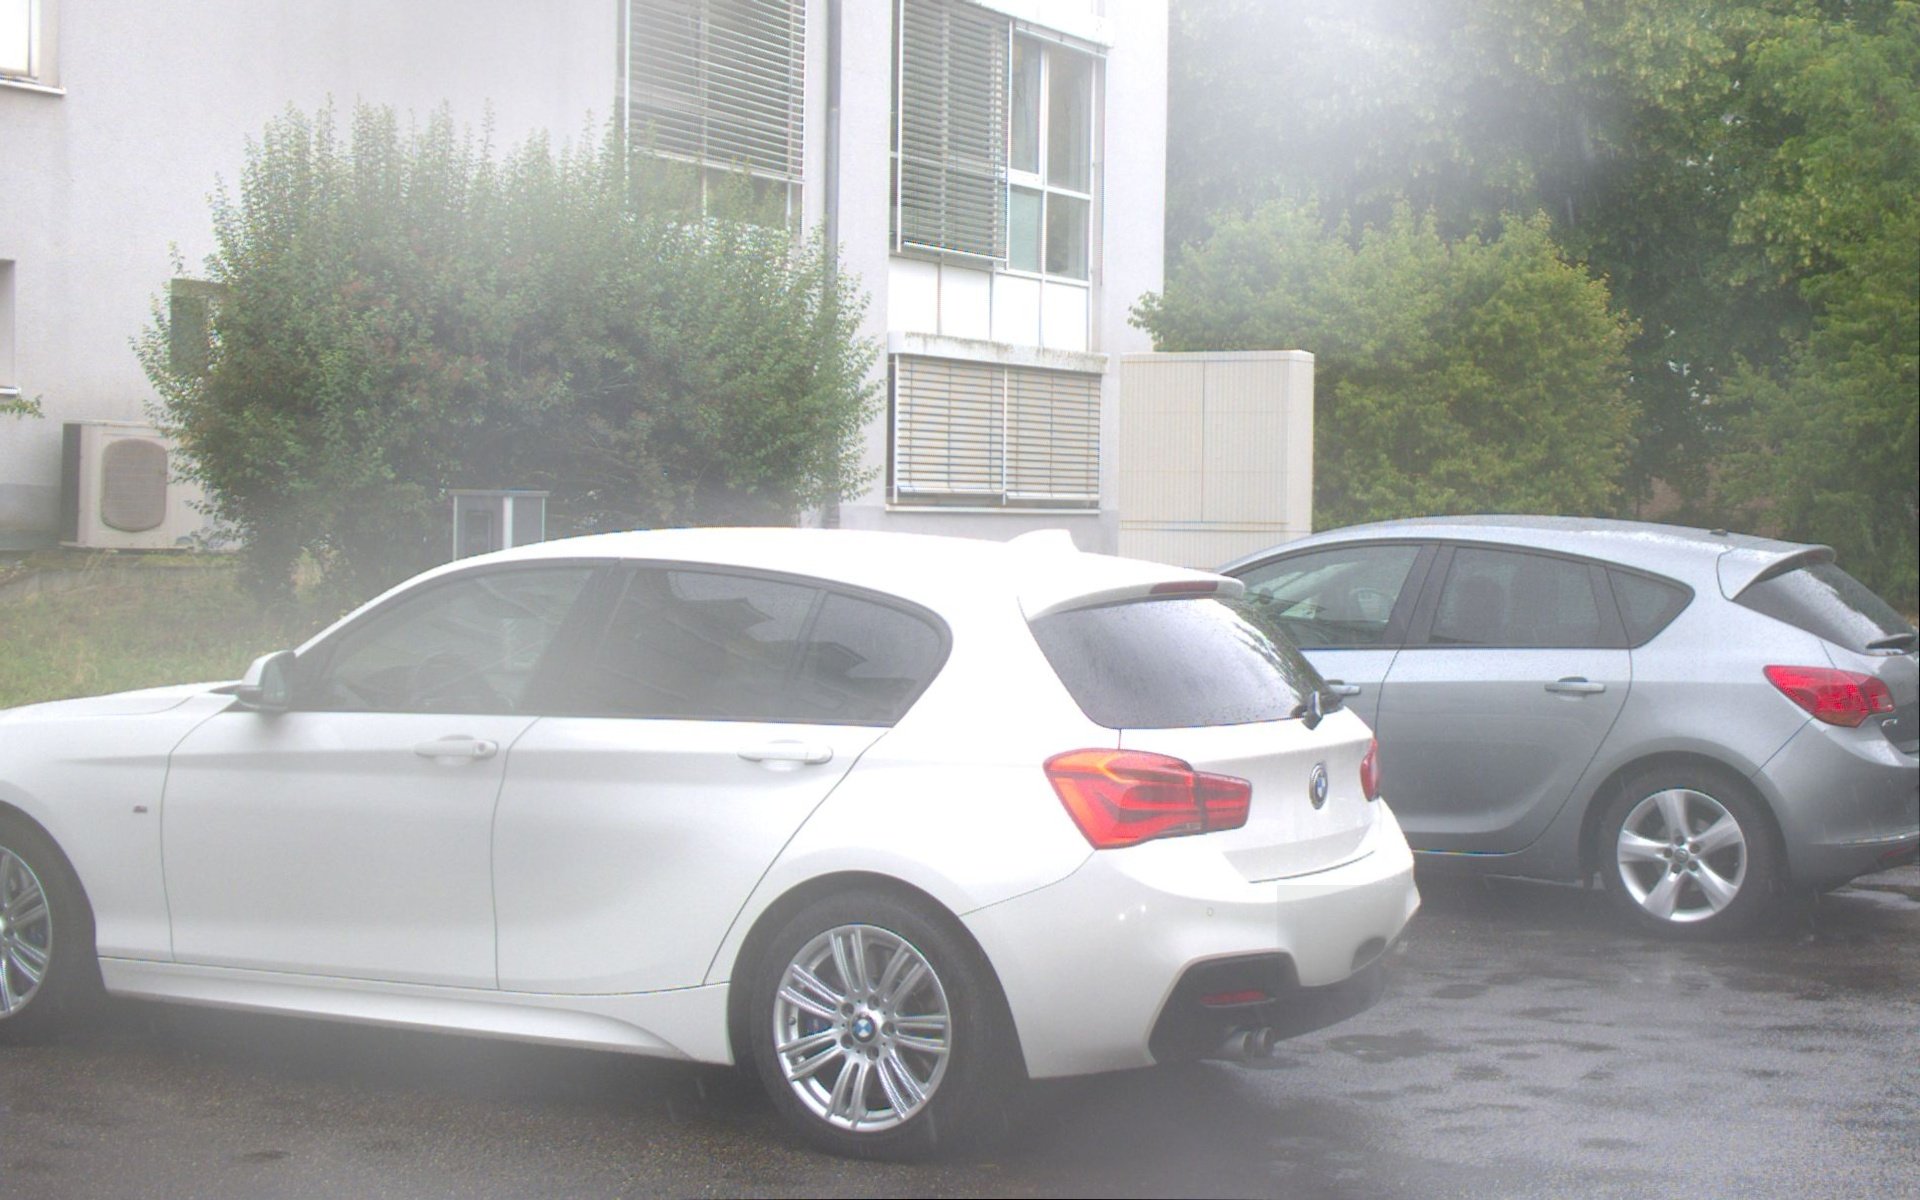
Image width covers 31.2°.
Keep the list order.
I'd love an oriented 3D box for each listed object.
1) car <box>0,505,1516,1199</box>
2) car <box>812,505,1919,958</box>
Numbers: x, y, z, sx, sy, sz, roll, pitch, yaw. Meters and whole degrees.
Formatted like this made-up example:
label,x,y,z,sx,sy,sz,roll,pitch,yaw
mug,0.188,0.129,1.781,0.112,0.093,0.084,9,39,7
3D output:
label,x,y,z,sx,sy,sz,roll,pitch,yaw
car,-0.872,0.524,9.207,4.214,1.484,1.997,2,1,28
car,1.750,0.415,13.530,4.214,1.484,1.997,2,1,28
